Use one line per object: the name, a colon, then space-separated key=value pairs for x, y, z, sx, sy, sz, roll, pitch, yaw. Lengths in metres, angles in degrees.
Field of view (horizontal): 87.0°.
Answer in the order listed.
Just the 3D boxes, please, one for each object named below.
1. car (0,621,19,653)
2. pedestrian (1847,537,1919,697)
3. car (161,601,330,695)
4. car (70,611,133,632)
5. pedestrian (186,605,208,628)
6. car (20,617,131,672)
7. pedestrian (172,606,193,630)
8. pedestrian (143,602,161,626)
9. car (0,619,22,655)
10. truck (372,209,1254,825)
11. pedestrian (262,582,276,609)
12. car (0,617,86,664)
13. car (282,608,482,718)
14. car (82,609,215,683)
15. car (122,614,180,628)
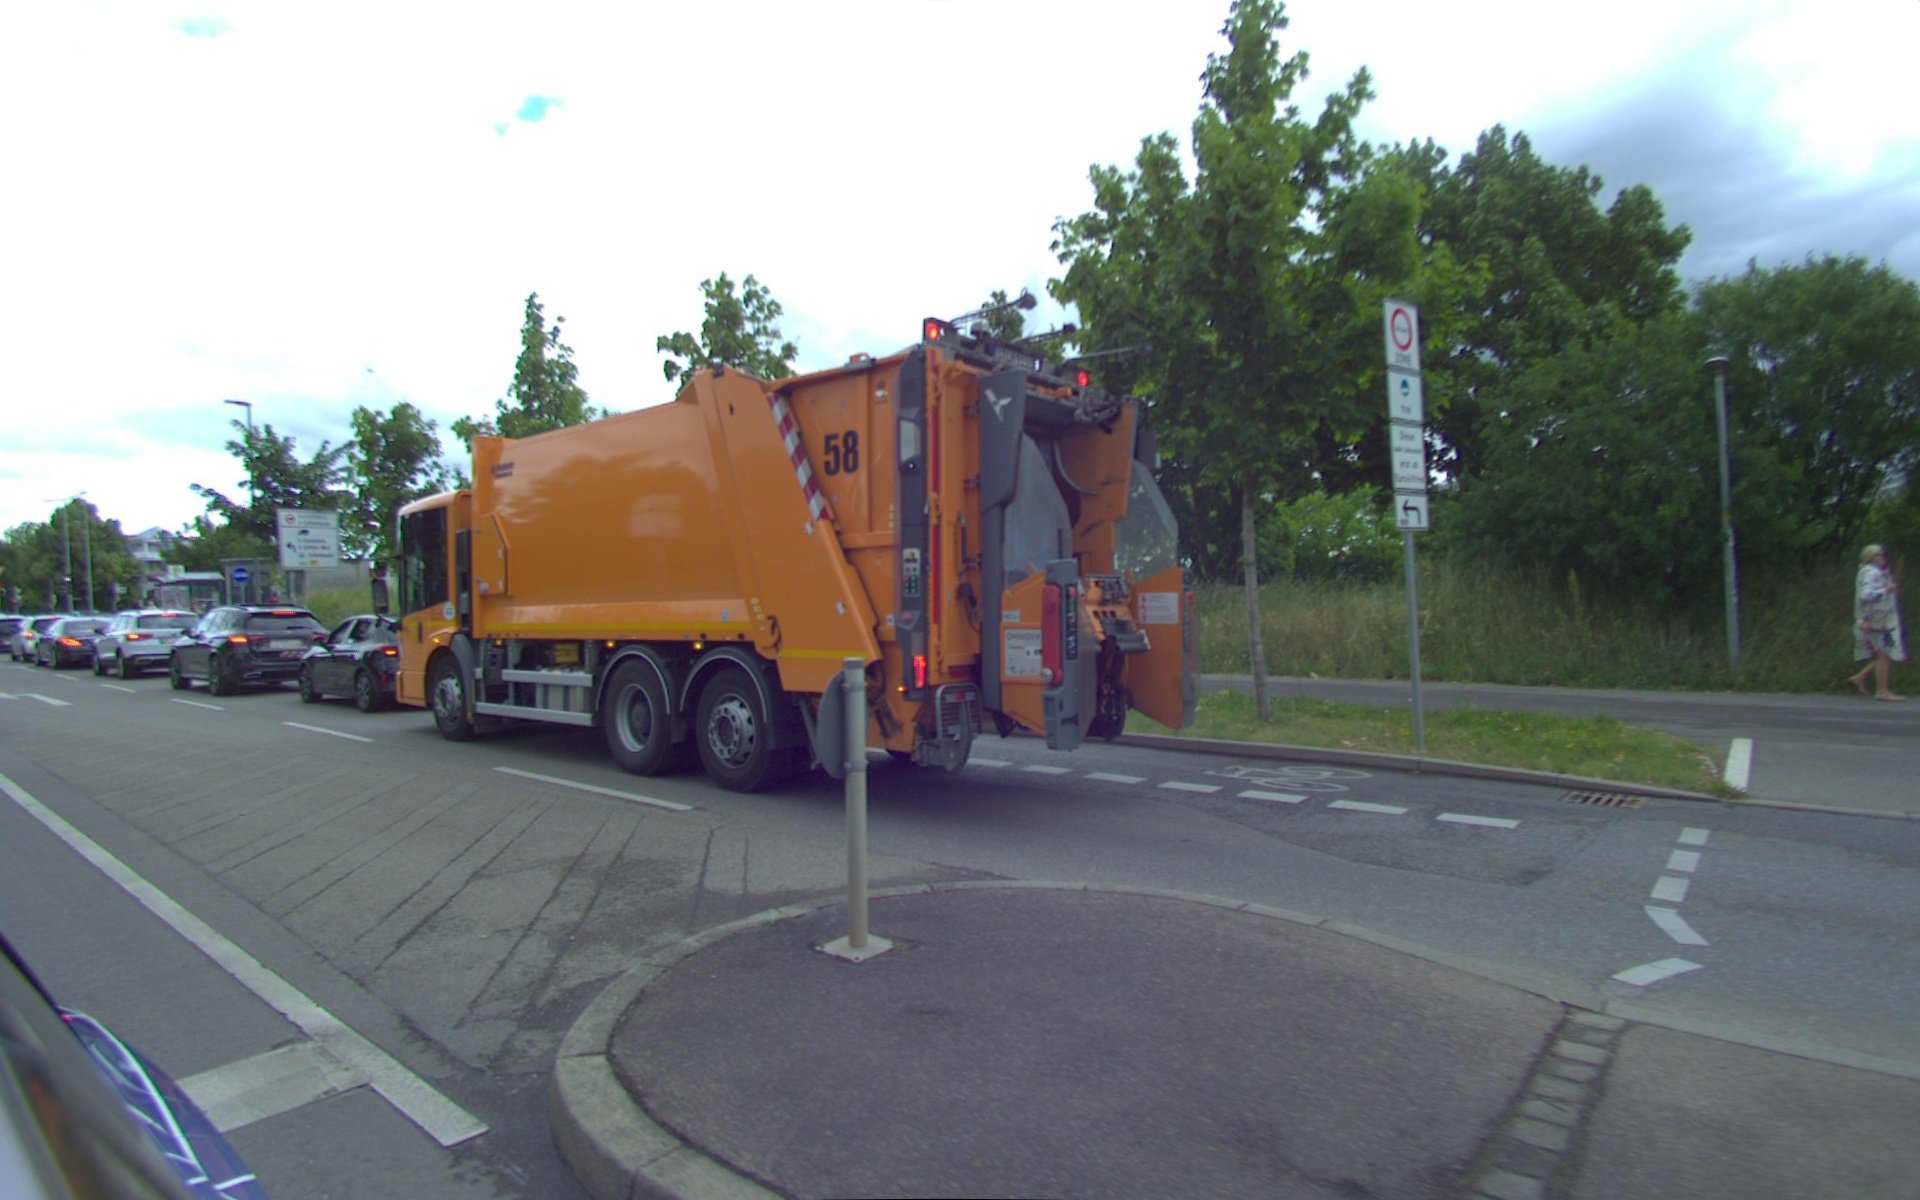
car: x=-42.926 y=1.642 z=44.371 sx=4.374 sy=1.342 sz=1.782 roll=-2 pitch=0 yaw=38
pedestrian: x=10.075 y=0.171 z=10.897 sx=0.753 sy=1.664 sz=0.736 roll=-1 pitch=0 yaw=41
car: x=-13.786 y=0.883 z=19.459 sx=4.057 sy=1.597 sz=1.623 roll=-2 pitch=0 yaw=40
car: x=-80.513 y=2.004 z=94.968 sx=1.809 sy=1.793 sz=4.177 roll=-2 pitch=1 yaw=32
pedestrian: x=-42.704 y=0.943 z=56.629 sx=0.549 sy=1.236 sz=0.766 roll=-2 pitch=0 yaw=31
car: x=-25.459 y=1.242 z=29.072 sx=4.880 sy=1.401 sz=1.623 roll=-2 pitch=0 yaw=40
pedestrian: x=-43.868 y=1.008 z=57.117 sx=0.549 sy=1.340 sz=0.766 roll=-2 pitch=0 yaw=31
pedestrian: x=-47.141 y=0.819 z=59.049 sx=0.771 sy=1.374 sz=0.545 roll=-2 pitch=0 yaw=32
car: x=-37.859 y=1.471 z=39.273 sx=4.057 sy=1.342 sz=1.623 roll=-2 pitch=0 yaw=40
truck: x=-2.427 y=-0.389 z=10.056 sx=9.987 sy=3.513 sz=2.678 roll=-2 pitch=0 yaw=41
pedestrian: x=-42.743 y=-0.284 z=62.591 sx=0.541 sy=1.682 sz=0.430 roll=-3 pitch=0 yaw=-14
car: x=-30.272 y=1.323 z=33.337 sx=3.759 sy=1.401 sz=1.623 roll=-2 pitch=0 yaw=40
car: x=-9.105 y=0.923 z=15.818 sx=3.891 sy=1.468 sz=1.419 roll=-2 pitch=0 yaw=40
car: x=-19.987 y=1.096 z=24.858 sx=4.219 sy=1.597 sz=1.713 roll=-2 pitch=0 yaw=40
car: x=-79.850 y=2.095 z=99.931 sx=1.809 sy=1.351 sz=4.174 roll=-3 pitch=-3 yaw=33
